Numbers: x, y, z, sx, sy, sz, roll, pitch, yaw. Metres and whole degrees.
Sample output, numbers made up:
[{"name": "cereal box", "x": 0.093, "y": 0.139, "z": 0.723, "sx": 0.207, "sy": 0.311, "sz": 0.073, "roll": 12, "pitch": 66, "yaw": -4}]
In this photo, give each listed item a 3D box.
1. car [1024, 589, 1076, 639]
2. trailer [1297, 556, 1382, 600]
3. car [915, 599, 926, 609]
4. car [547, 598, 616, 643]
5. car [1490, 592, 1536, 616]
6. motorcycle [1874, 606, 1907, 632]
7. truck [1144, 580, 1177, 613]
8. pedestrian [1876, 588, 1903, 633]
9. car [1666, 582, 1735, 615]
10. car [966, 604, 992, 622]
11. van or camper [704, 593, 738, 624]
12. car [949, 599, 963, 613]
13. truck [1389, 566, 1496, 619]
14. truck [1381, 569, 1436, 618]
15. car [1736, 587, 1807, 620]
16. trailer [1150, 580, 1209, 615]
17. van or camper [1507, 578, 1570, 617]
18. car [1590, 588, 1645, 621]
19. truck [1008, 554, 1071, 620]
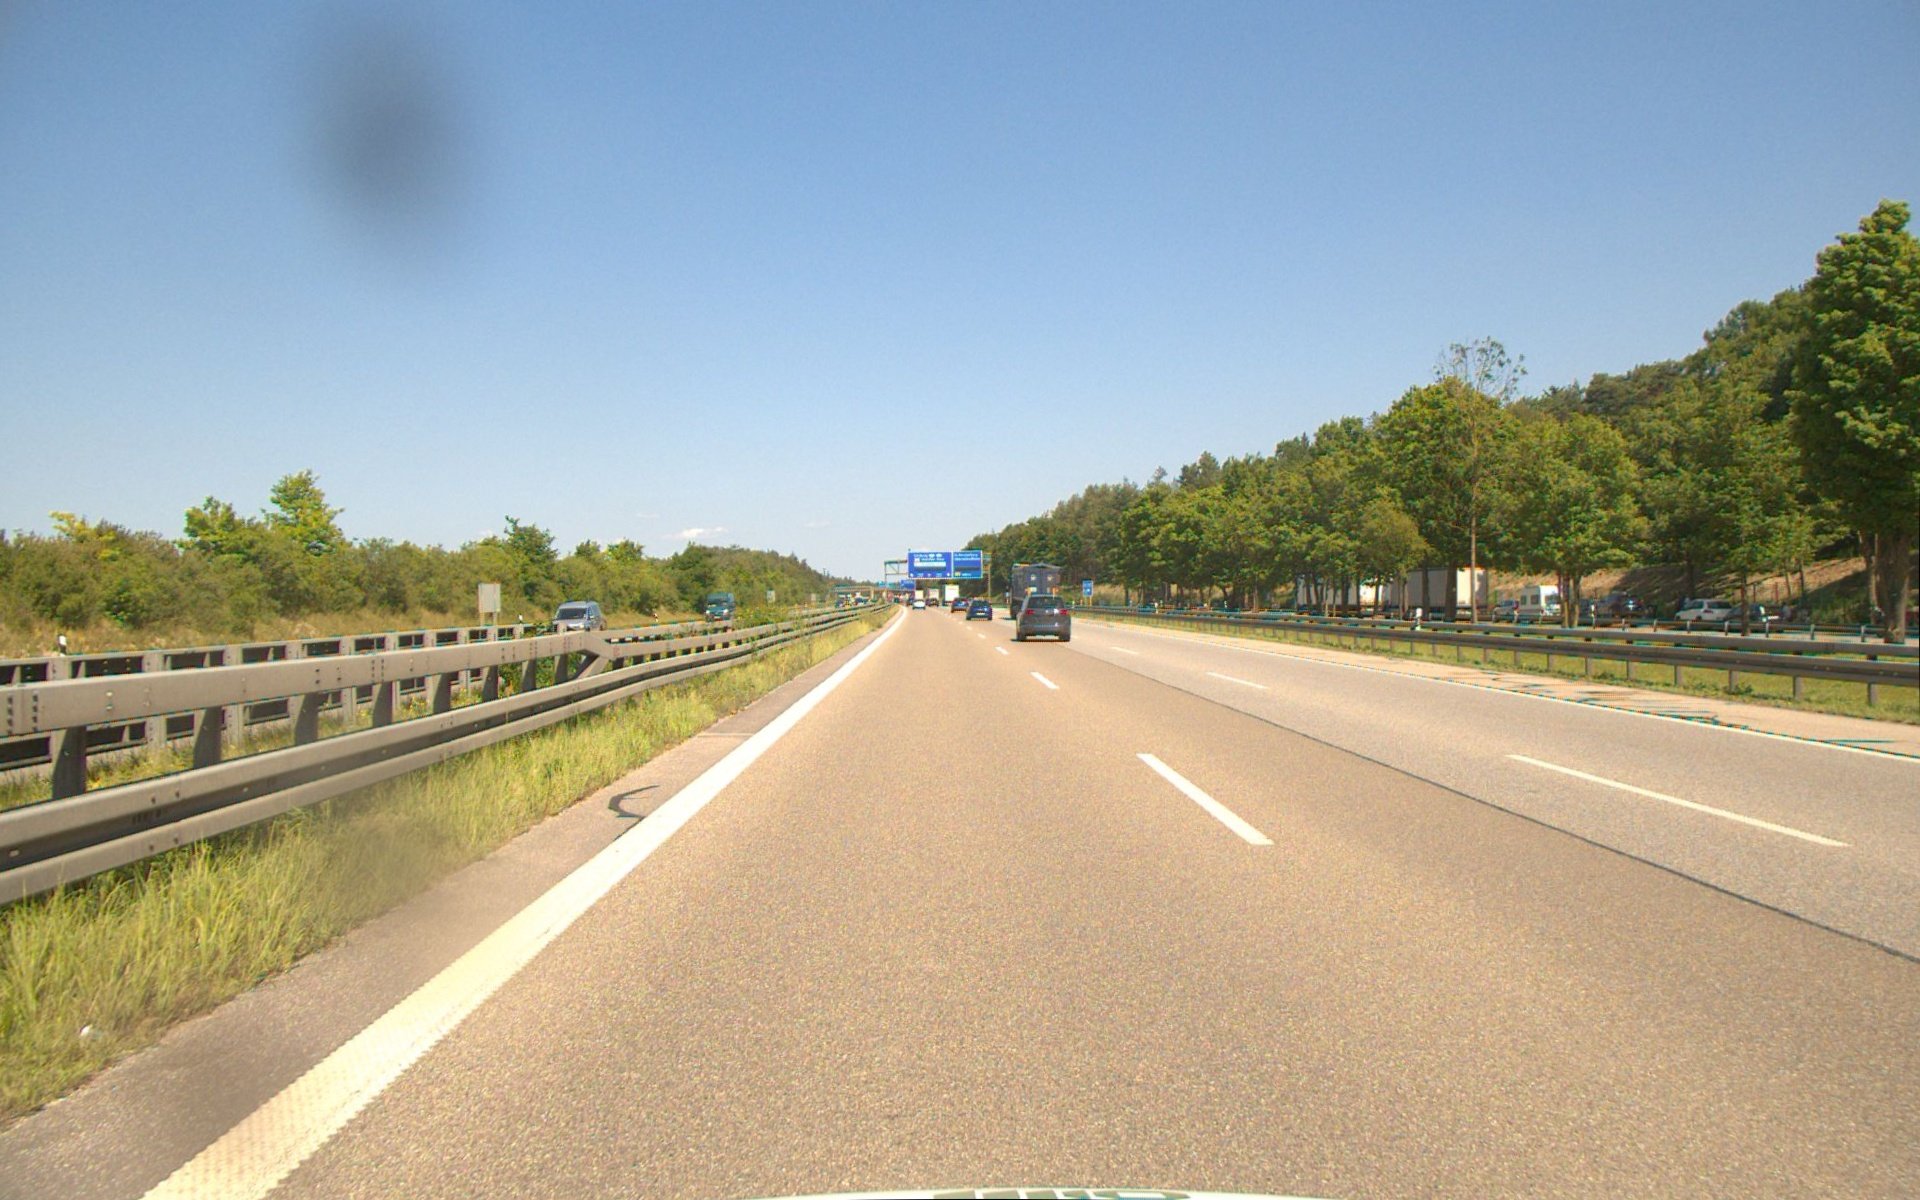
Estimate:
[{"name": "car", "x": 3.180, "y": 0.484, "z": 59.158, "sx": 1.762, "sy": 1.698, "sz": 4.259, "roll": 1, "pitch": 0, "yaw": 2}, {"name": "trailer", "x": 34.951, "y": -1.953, "z": 152.964, "sx": 2.804, "sy": 3.863, "sz": 14.163, "roll": 0, "pitch": 0, "yaw": -8}, {"name": "car", "x": -5.227, "y": 0.514, "z": 220.256, "sx": 1.441, "sy": 1.249, "sz": 3.410, "roll": -1, "pitch": 0, "yaw": -1}, {"name": "car", "x": -17.268, "y": 0.907, "z": 75.621, "sx": 1.953, "sy": 1.867, "sz": 5.332, "roll": -3, "pitch": 0, "yaw": -1}, {"name": "car", "x": 39.036, "y": 0.291, "z": 116.892, "sx": 1.622, "sy": 1.625, "sz": 4.553, "roll": 0, "pitch": 0, "yaw": -2}, {"name": "motorcycle", "x": 39.625, "y": 0.794, "z": 70.464, "sx": 0.546, "sy": 1.048, "sz": 1.674, "roll": -1, "pitch": 0, "yaw": 5}, {"name": "truck", "x": 24.619, "y": -0.376, "z": 203.081, "sx": 2.528, "sy": 3.983, "sz": 4.848, "roll": 0, "pitch": 0, "yaw": -14}, {"name": "pedestrian", "x": 38.695, "y": 0.434, "z": 68.864, "sx": 0.781, "sy": 1.813, "sz": 0.643, "roll": -1, "pitch": 0, "yaw": 12}, {"name": "car", "x": 39.651, "y": -0.080, "z": 88.707, "sx": 1.622, "sy": 1.705, "sz": 4.651, "roll": 0, "pitch": 0, "yaw": 0}, {"name": "car", "x": 1.305, "y": 0.882, "z": 115.538, "sx": 1.674, "sy": 1.176, "sz": 3.688, "roll": -1, "pitch": 0, "yaw": -1}, {"name": "van or camper", "x": -19.536, "y": 0.677, "z": 135.311, "sx": 1.953, "sy": 2.434, "sz": 6.239, "roll": -2, "pitch": 0, "yaw": -1}, {"name": "car", "x": -0.422, "y": 0.617, "z": 174.672, "sx": 1.441, "sy": 1.422, "sz": 3.410, "roll": 2, "pitch": 0, "yaw": -1}, {"name": "truck", "x": 37.952, "y": -0.559, "z": 130.828, "sx": 2.938, "sy": 4.000, "sz": 14.443, "roll": 0, "pitch": 0, "yaw": -5}, {"name": "truck", "x": 37.302, "y": -0.529, "z": 137.652, "sx": 2.913, "sy": 4.000, "sz": 4.828, "roll": 0, "pitch": 0, "yaw": -6}, {"name": "car", "x": 40.241, "y": 0.157, "z": 82.092, "sx": 1.951, "sy": 1.601, "sz": 4.003, "roll": -1, "pitch": 0, "yaw": 7}, {"name": "trailer", "x": 26.043, "y": -0.292, "z": 197.354, "sx": 2.528, "sy": 3.983, "sz": 12.701, "roll": 0, "pitch": 0, "yaw": -14}, {"name": "van or camper", "x": 38.909, "y": -0.152, "z": 111.404, "sx": 2.158, "sy": 2.575, "sz": 5.874, "roll": 0, "pitch": 0, "yaw": -1}, {"name": "car", "x": 39.086, "y": 0.242, "z": 98.438, "sx": 1.621, "sy": 1.910, "sz": 4.802, "roll": 0, "pitch": 0, "yaw": 3}, {"name": "truck", "x": 5.688, "y": -0.924, "z": 120.905, "sx": 3.703, "sy": 4.499, "sz": 14.048, "roll": 0, "pitch": 0, "yaw": -1}]
